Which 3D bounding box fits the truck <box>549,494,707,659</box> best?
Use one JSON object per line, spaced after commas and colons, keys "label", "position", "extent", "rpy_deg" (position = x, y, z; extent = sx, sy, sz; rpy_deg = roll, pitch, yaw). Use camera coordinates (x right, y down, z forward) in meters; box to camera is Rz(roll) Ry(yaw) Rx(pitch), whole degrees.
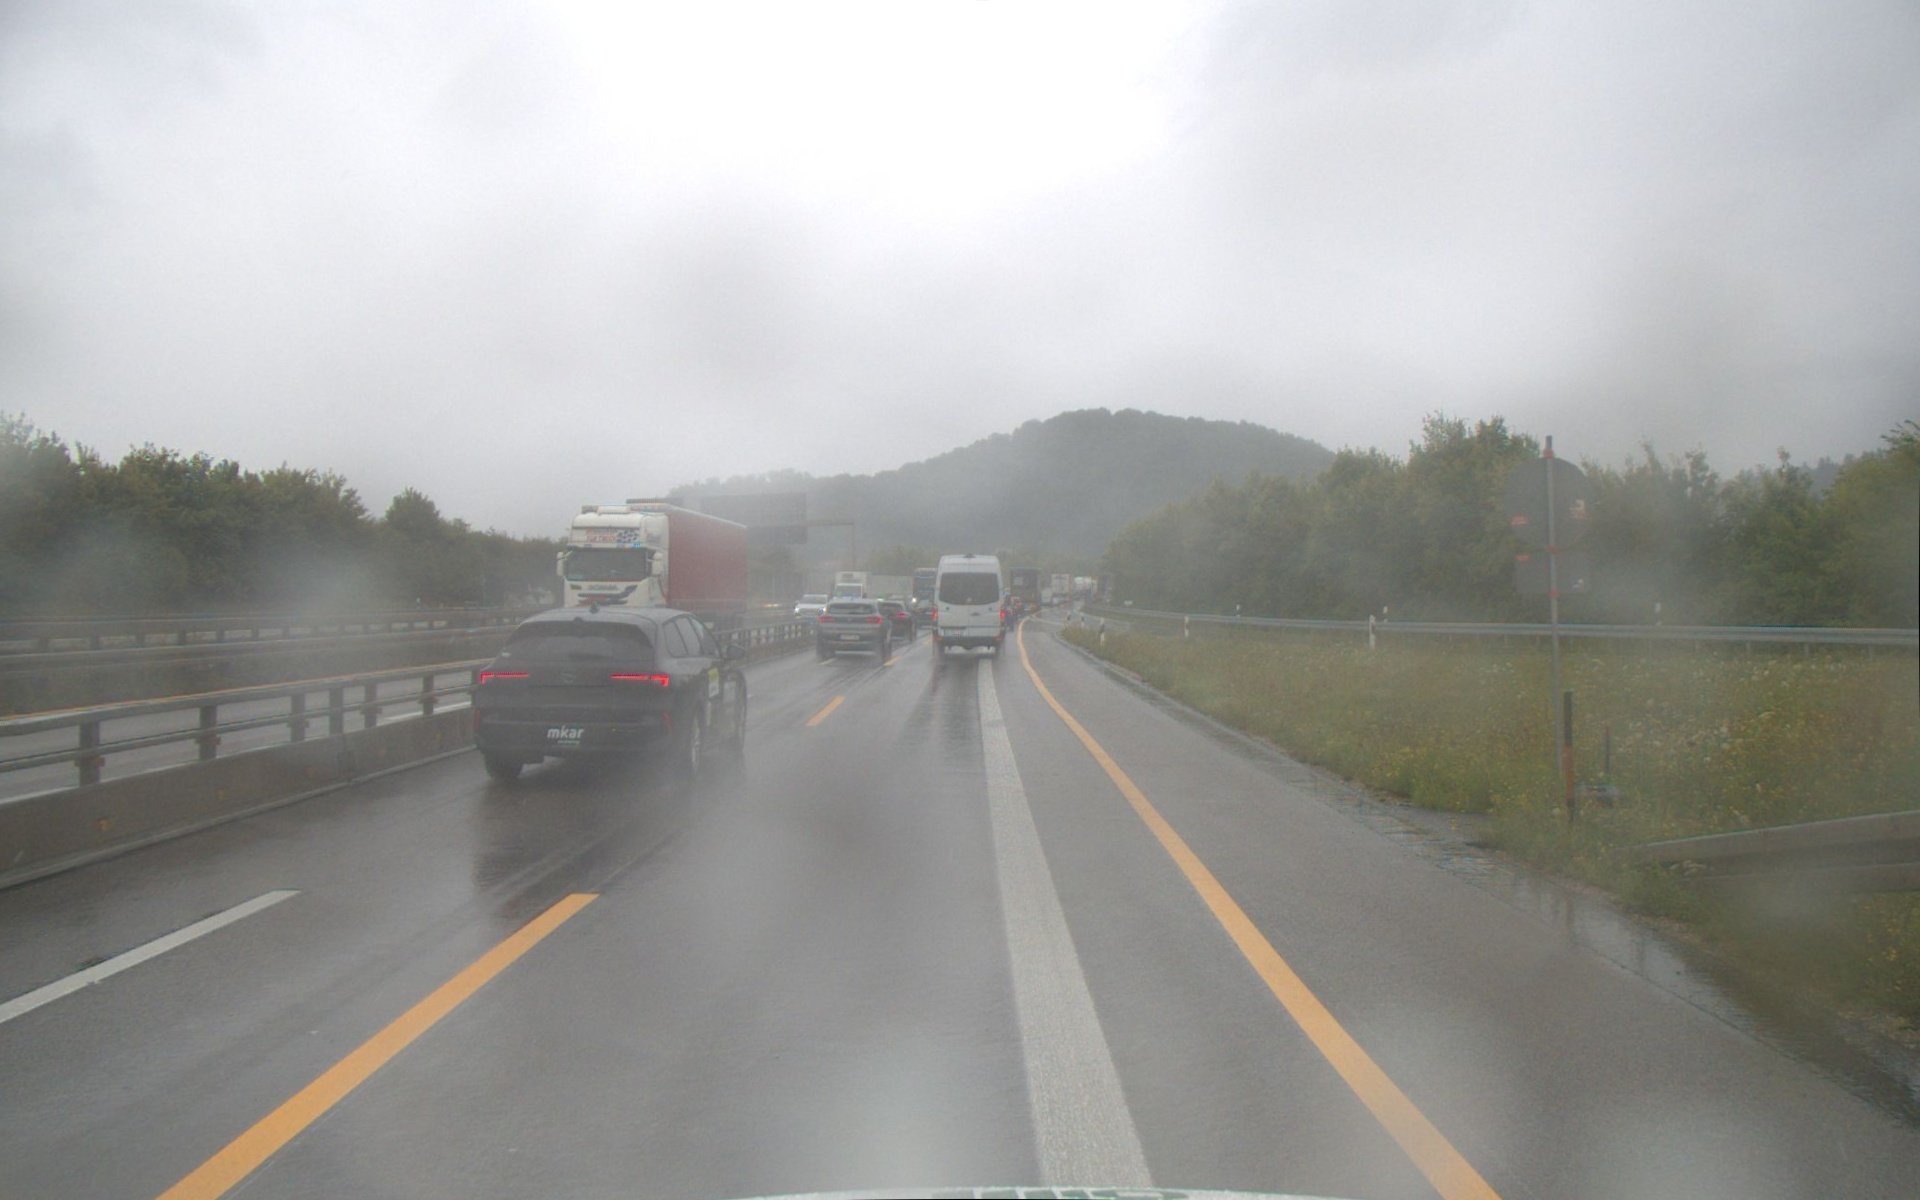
{"label": "truck", "position": [-9.360, -0.609, 47.460], "extent": [2.945, 4.347, 6.801], "rpy_deg": [-1, 0, 2]}

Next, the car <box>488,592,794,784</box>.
{"label": "car", "position": [-2.706, 0.693, 15.181], "extent": [1.899, 1.452, 4.759], "rpy_deg": [1, 0, 0]}

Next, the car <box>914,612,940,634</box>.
{"label": "car", "position": [-1.635, 1.137, 82.835], "extent": [1.237, 1.097, 3.254], "rpy_deg": [0, 0, 0]}

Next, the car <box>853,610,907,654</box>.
{"label": "car", "position": [-2.874, 1.150, 60.329], "extent": [1.814, 1.527, 3.999], "rpy_deg": [0, 0, -1]}

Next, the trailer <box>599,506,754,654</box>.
{"label": "trailer", "position": [-9.150, -0.571, 54.935], "extent": [2.914, 4.370, 11.062], "rpy_deg": [-1, 0, 2]}

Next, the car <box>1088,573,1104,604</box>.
{"label": "car", "position": [18.942, -1.619, 230.534], "extent": [2.014, 4.265, 6.749], "rpy_deg": [0, 0, 4]}

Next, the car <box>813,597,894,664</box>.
{"label": "car", "position": [-2.751, 0.774, 43.530], "extent": [1.829, 1.688, 3.988], "rpy_deg": [0, 0, 0]}

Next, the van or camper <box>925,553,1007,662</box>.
{"label": "van or camper", "position": [0.139, 0.195, 44.661], "extent": [2.096, 2.769, 4.647], "rpy_deg": [0, 0, 0]}

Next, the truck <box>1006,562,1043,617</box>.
{"label": "truck", "position": [5.963, -0.868, 154.319], "extent": [3.251, 4.868, 9.908], "rpy_deg": [1, -1, 2]}

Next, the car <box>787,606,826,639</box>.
{"label": "car", "position": [-8.335, 1.193, 89.898], "extent": [1.602, 1.697, 4.543], "rpy_deg": [1, -1, 1]}

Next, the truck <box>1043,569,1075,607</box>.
{"label": "truck", "position": [13.595, -1.549, 225.945], "extent": [3.845, 4.868, 9.913], "rpy_deg": [1, -1, 6]}

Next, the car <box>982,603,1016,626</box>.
{"label": "car", "position": [1.913, 0.693, 81.538], "extent": [1.357, 1.097, 3.119], "rpy_deg": [0, 0, -5]}

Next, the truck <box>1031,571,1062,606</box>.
{"label": "truck", "position": [9.999, -1.321, 192.246], "extent": [3.251, 3.827, 9.908], "rpy_deg": [1, -1, 2]}

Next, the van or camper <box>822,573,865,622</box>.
{"label": "van or camper", "position": [-7.650, -0.128, 109.452], "extent": [2.246, 3.094, 6.699], "rpy_deg": [1, -1, 1]}
